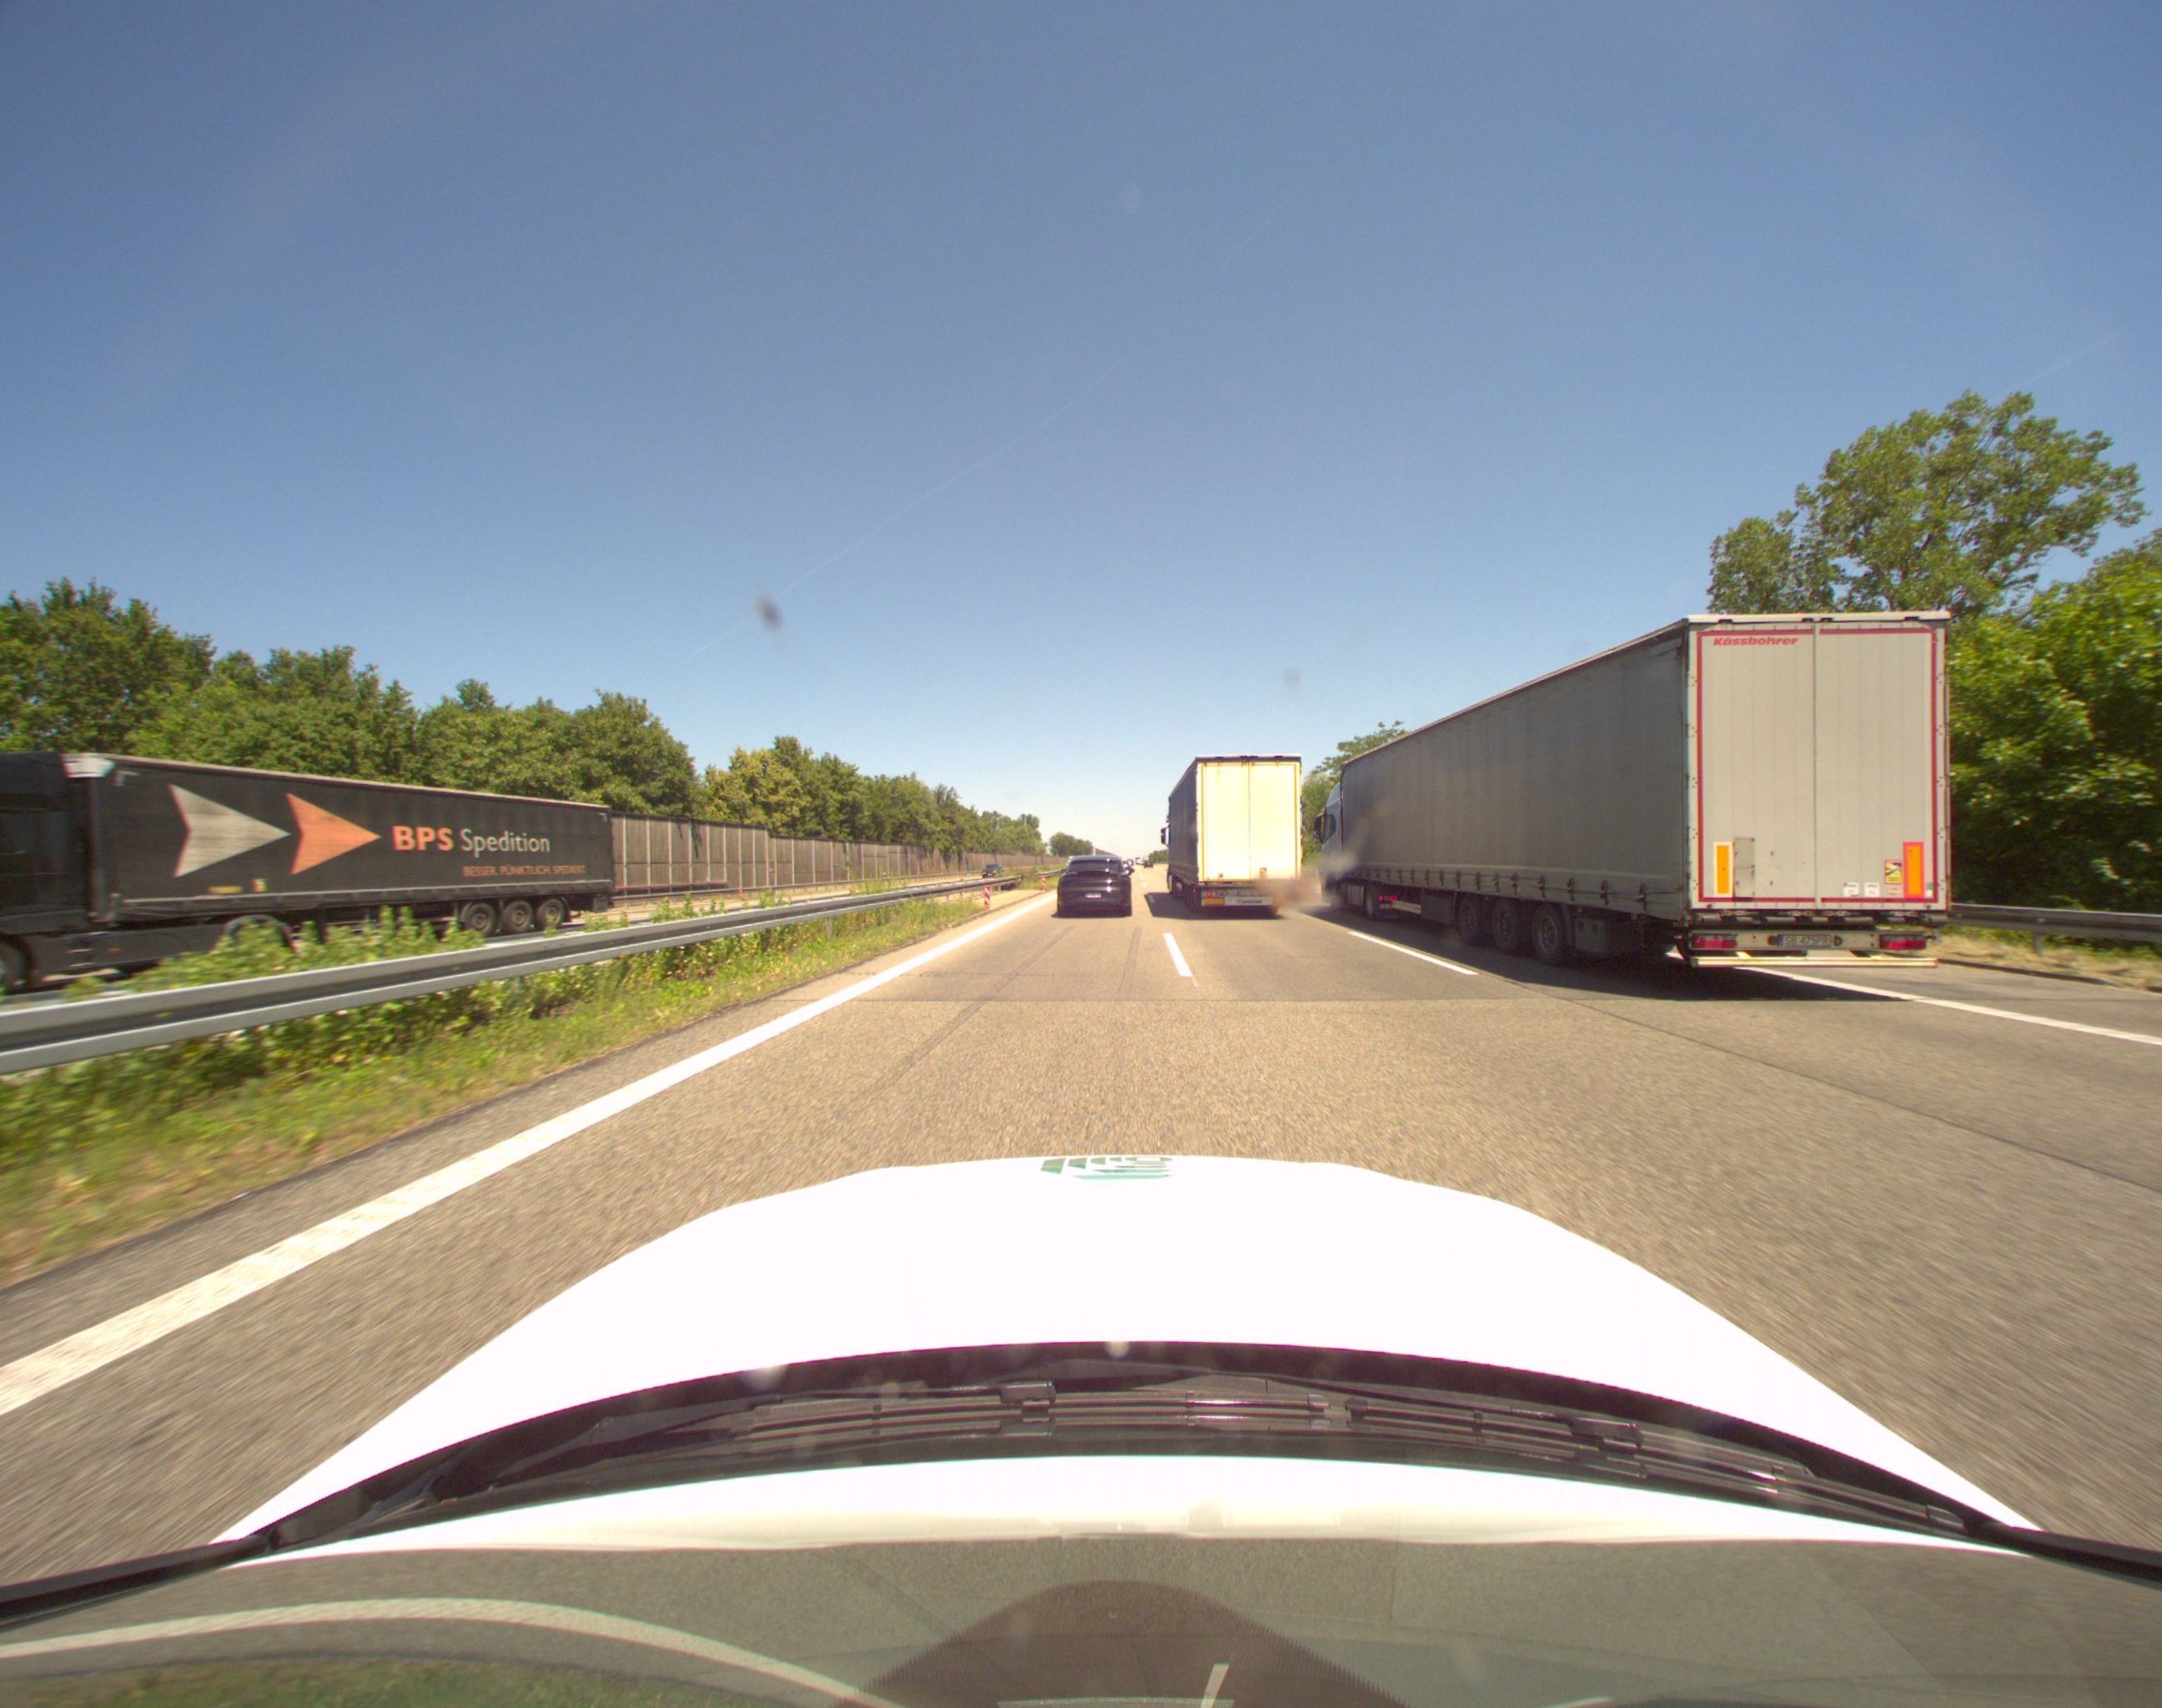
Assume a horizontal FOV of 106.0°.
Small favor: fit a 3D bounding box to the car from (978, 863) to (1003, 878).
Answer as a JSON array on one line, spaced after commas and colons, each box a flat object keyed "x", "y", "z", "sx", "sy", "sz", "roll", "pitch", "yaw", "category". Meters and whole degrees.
[{"x": -9.879, "y": 1.783, "z": 89.080, "sx": 1.952, "sy": 1.433, "sz": 4.883, "roll": -2, "pitch": 0, "yaw": 3, "category": "car"}]

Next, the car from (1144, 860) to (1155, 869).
[{"x": 12.480, "y": 1.910, "z": 148.786, "sx": 1.847, "sy": 1.617, "sz": 4.004, "roll": -1, "pitch": 0, "yaw": 4, "category": "car"}]

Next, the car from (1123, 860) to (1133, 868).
[{"x": 9.267, "y": 1.940, "z": 160.097, "sx": 1.846, "sy": 1.486, "sz": 4.005, "roll": -3, "pitch": 0, "yaw": 5, "category": "car"}]

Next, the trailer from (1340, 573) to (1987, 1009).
[{"x": 7.824, "y": -0.578, "z": 14.645, "sx": 2.692, "sy": 4.216, "sz": 13.222, "roll": -2, "pitch": 0, "yaw": 3, "category": "trailer"}]

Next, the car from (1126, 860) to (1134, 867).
[{"x": 12.250, "y": 2.257, "z": 203.111, "sx": 1.848, "sy": 1.617, "sz": 4.003, "roll": -3, "pitch": 0, "yaw": 3, "category": "car"}]

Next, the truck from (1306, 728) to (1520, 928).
[{"x": 8.205, "y": -0.531, "z": 21.416, "sx": 2.680, "sy": 4.215, "sz": 7.844, "roll": -2, "pitch": -1, "yaw": 3, "category": "truck"}]

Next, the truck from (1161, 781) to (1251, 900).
[{"x": 4.768, "y": -0.451, "z": 32.343, "sx": 2.716, "sy": 4.086, "sz": 7.283, "roll": -2, "pitch": -1, "yaw": 3, "category": "truck"}]

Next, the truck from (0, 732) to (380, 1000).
[{"x": -17.719, "y": 0.239, "z": 14.827, "sx": 2.716, "sy": 4.086, "sz": 7.844, "roll": -2, "pitch": -1, "yaw": 3, "category": "truck"}]

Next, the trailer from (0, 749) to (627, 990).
[{"x": -17.380, "y": 0.317, "z": 21.041, "sx": 2.716, "sy": 4.086, "sz": 13.901, "roll": -2, "pitch": 0, "yaw": 3, "category": "trailer"}]

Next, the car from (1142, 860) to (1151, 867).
[{"x": 16.344, "y": 2.422, "z": 203.252, "sx": 1.848, "sy": 1.617, "sz": 4.001, "roll": -3, "pitch": 0, "yaw": 2, "category": "car"}]

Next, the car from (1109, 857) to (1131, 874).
[{"x": 3.977, "y": 1.156, "z": 82.184, "sx": 1.934, "sy": 1.506, "sz": 5.828, "roll": -3, "pitch": 0, "yaw": 5, "category": "car"}]

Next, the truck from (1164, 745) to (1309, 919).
[{"x": 4.416, "y": -0.492, "z": 26.229, "sx": 2.695, "sy": 4.086, "sz": 13.484, "roll": -2, "pitch": 0, "yaw": 3, "category": "truck"}]

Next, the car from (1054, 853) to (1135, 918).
[{"x": 0.493, "y": 0.801, "z": 23.651, "sx": 2.035, "sy": 1.625, "sz": 5.776, "roll": -1, "pitch": 0, "yaw": 3, "category": "car"}]
